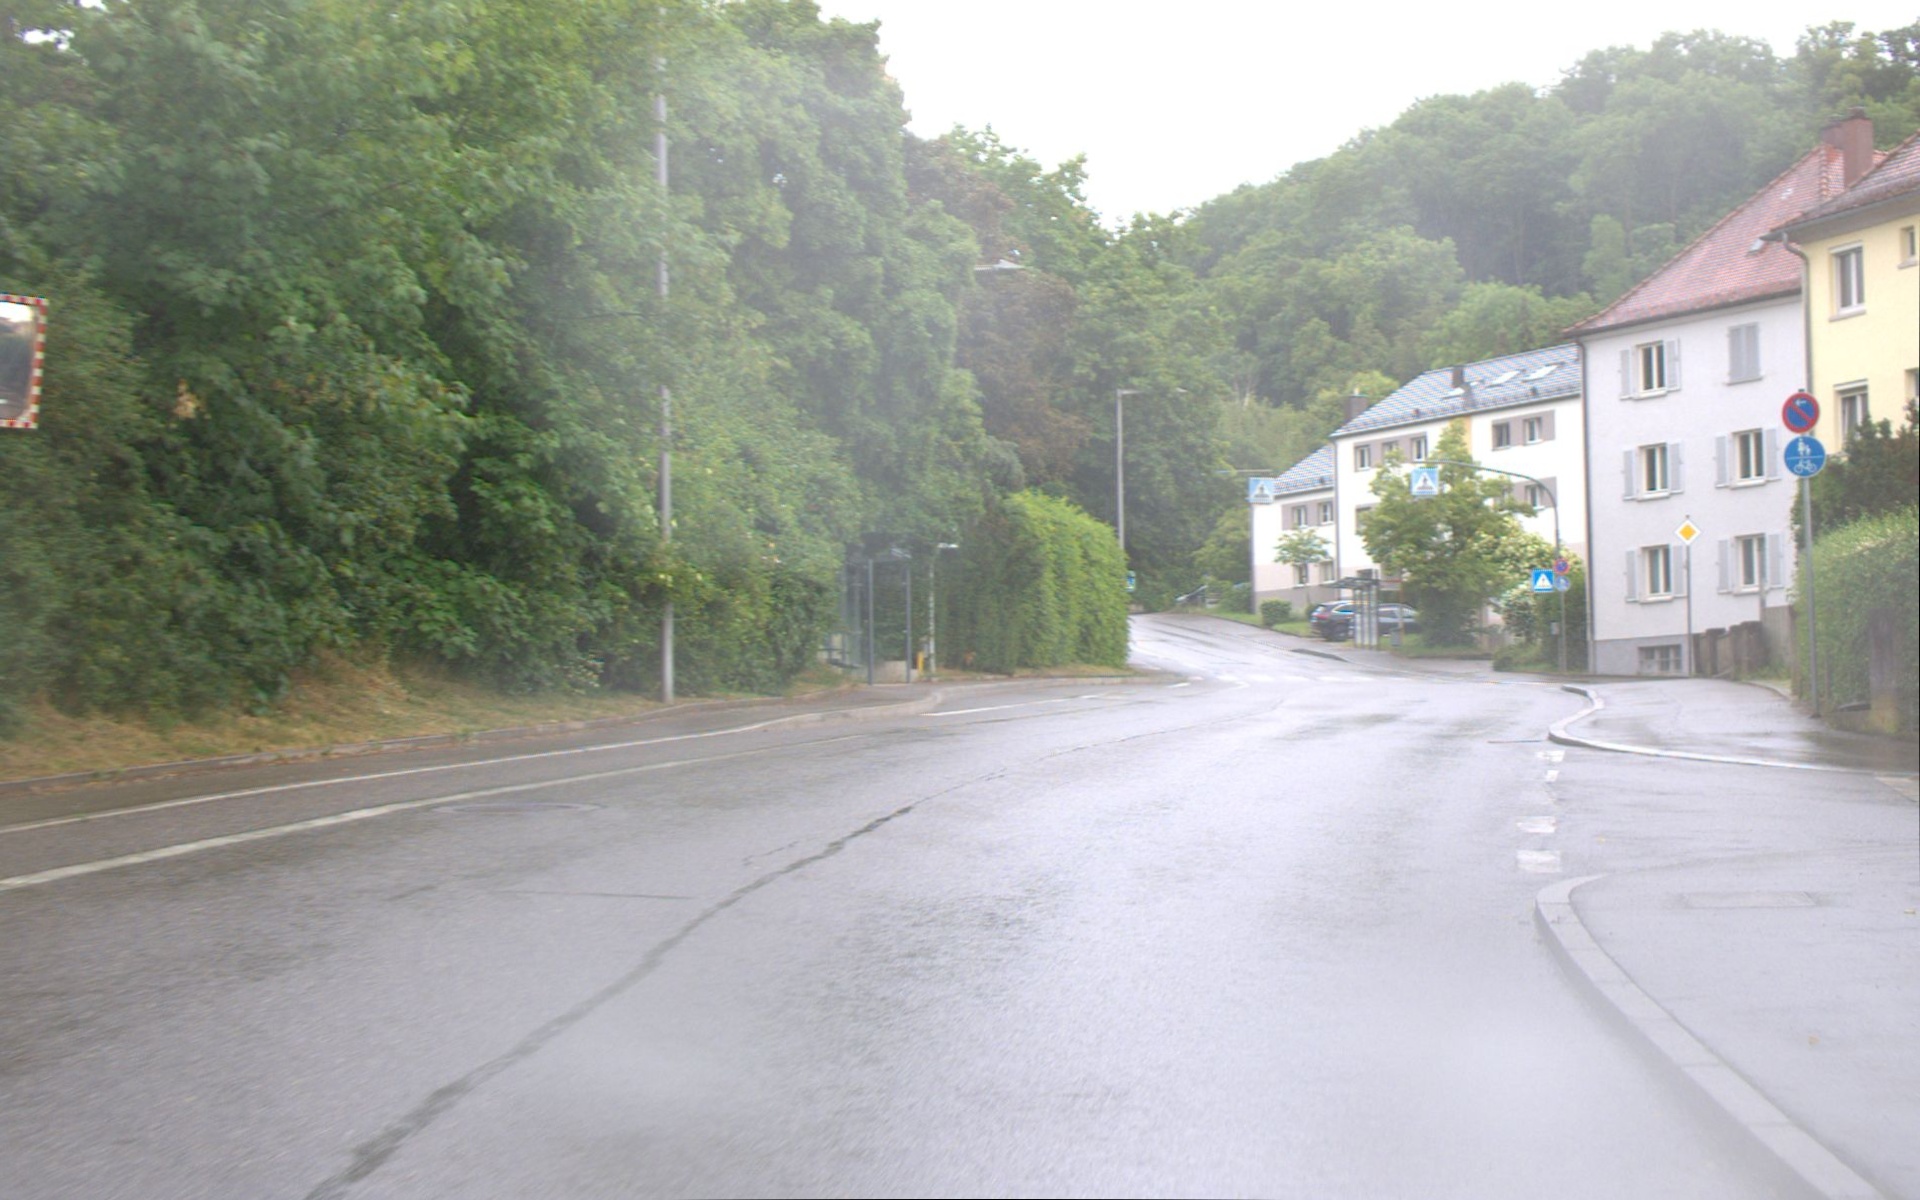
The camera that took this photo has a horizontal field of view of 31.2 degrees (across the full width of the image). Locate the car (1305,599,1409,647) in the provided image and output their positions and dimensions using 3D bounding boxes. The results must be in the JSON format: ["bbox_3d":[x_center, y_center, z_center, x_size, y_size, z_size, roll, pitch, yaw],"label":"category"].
[{"bbox_3d":[16.272,0.938,141.047,3.987,1.766,2.000,2,-2,-1],"label":"car"}]

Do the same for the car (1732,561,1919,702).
[{"bbox_3d":[14.293,0.534,53.339,3.986,2.007,2.000,3,-2,-10],"label":"car"}]

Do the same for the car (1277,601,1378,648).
[{"bbox_3d":[15.536,1.034,145.367,3.987,1.766,2.000,2,-2,-1],"label":"car"}]

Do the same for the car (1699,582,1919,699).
[{"bbox_3d":[14.765,0.705,57.962,3.986,1.766,2.000,3,-2,-10],"label":"car"}]
